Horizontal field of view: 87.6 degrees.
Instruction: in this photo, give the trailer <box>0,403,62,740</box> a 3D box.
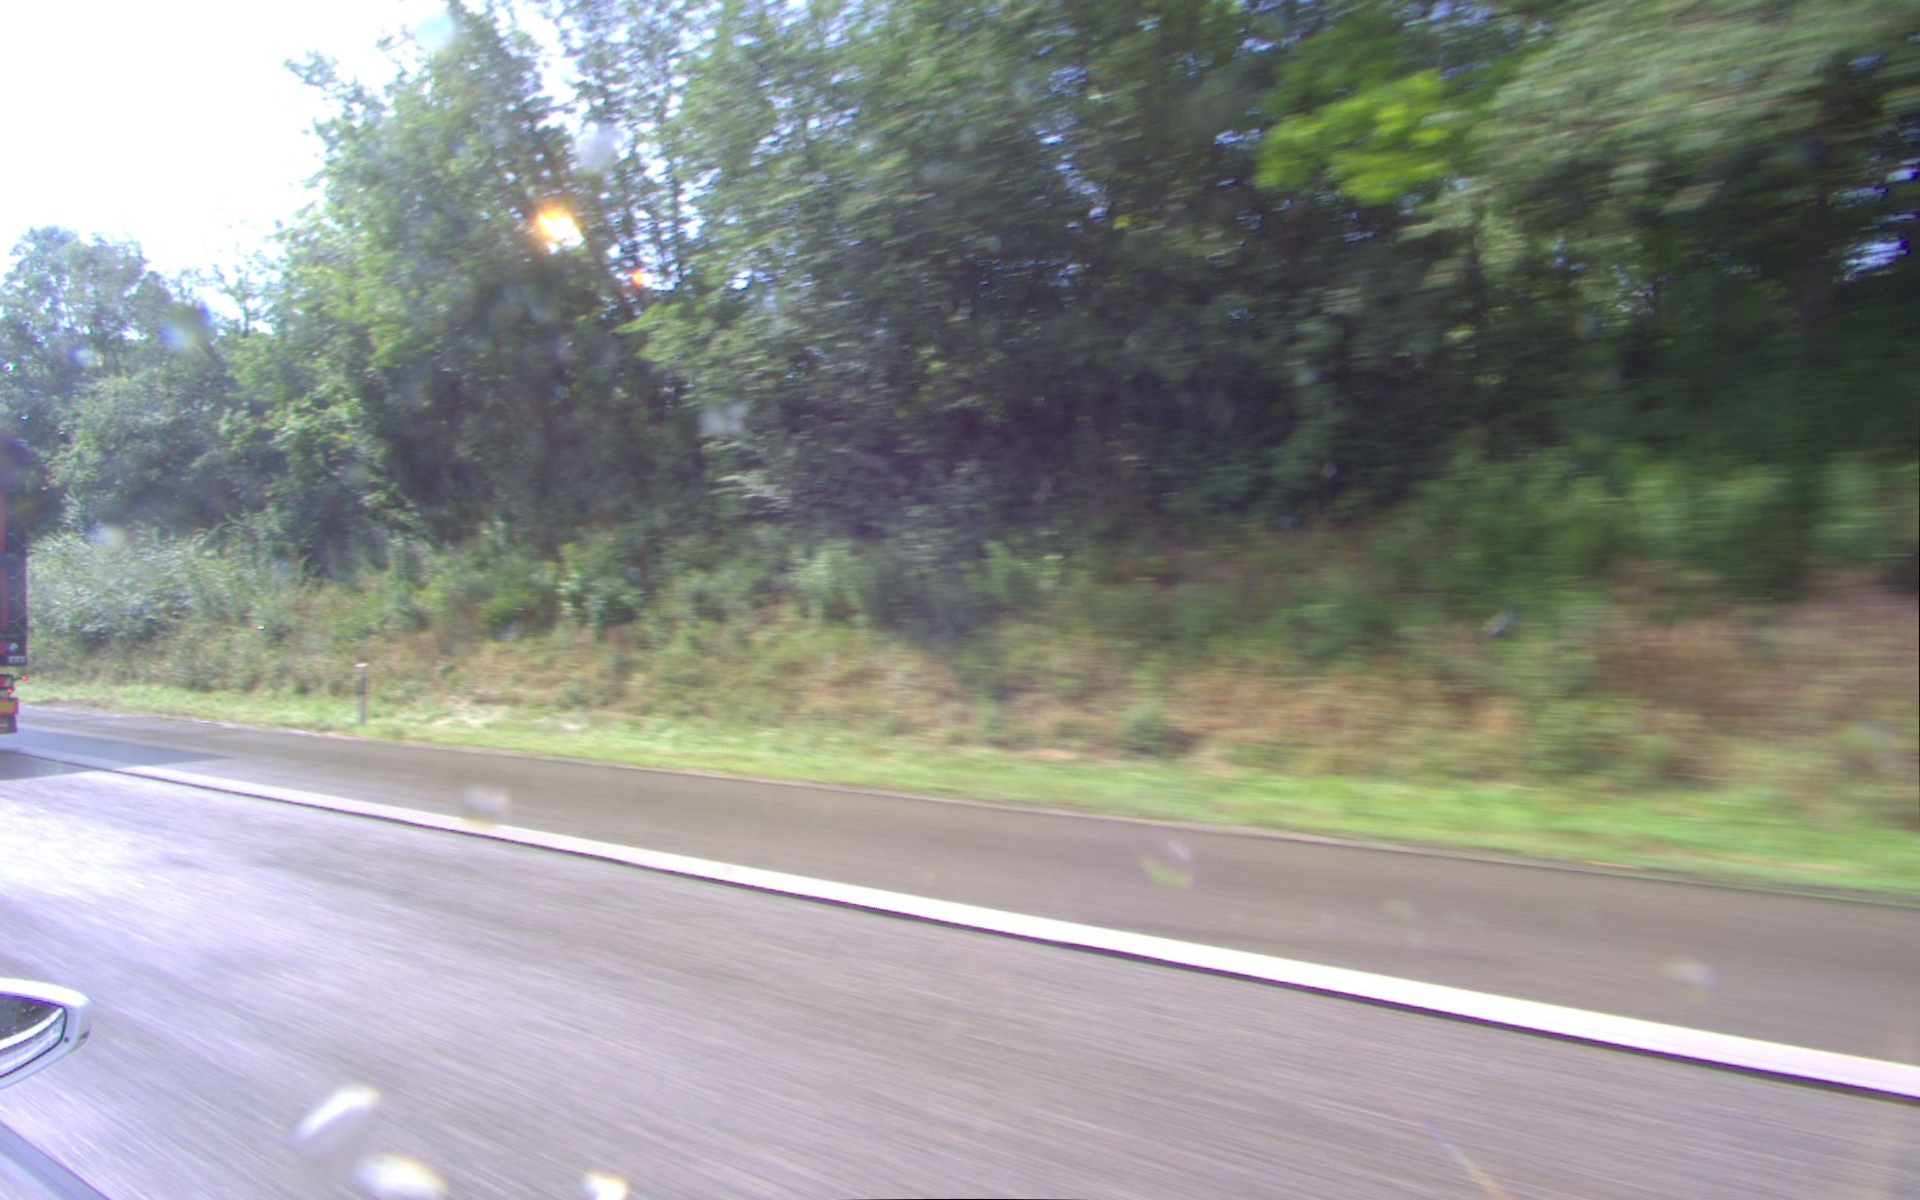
[{"bbox_3d":[-18.754,-0.278,16.008,13.907,4.368,3.082,-1,-1,33],"label":"trailer"}]
